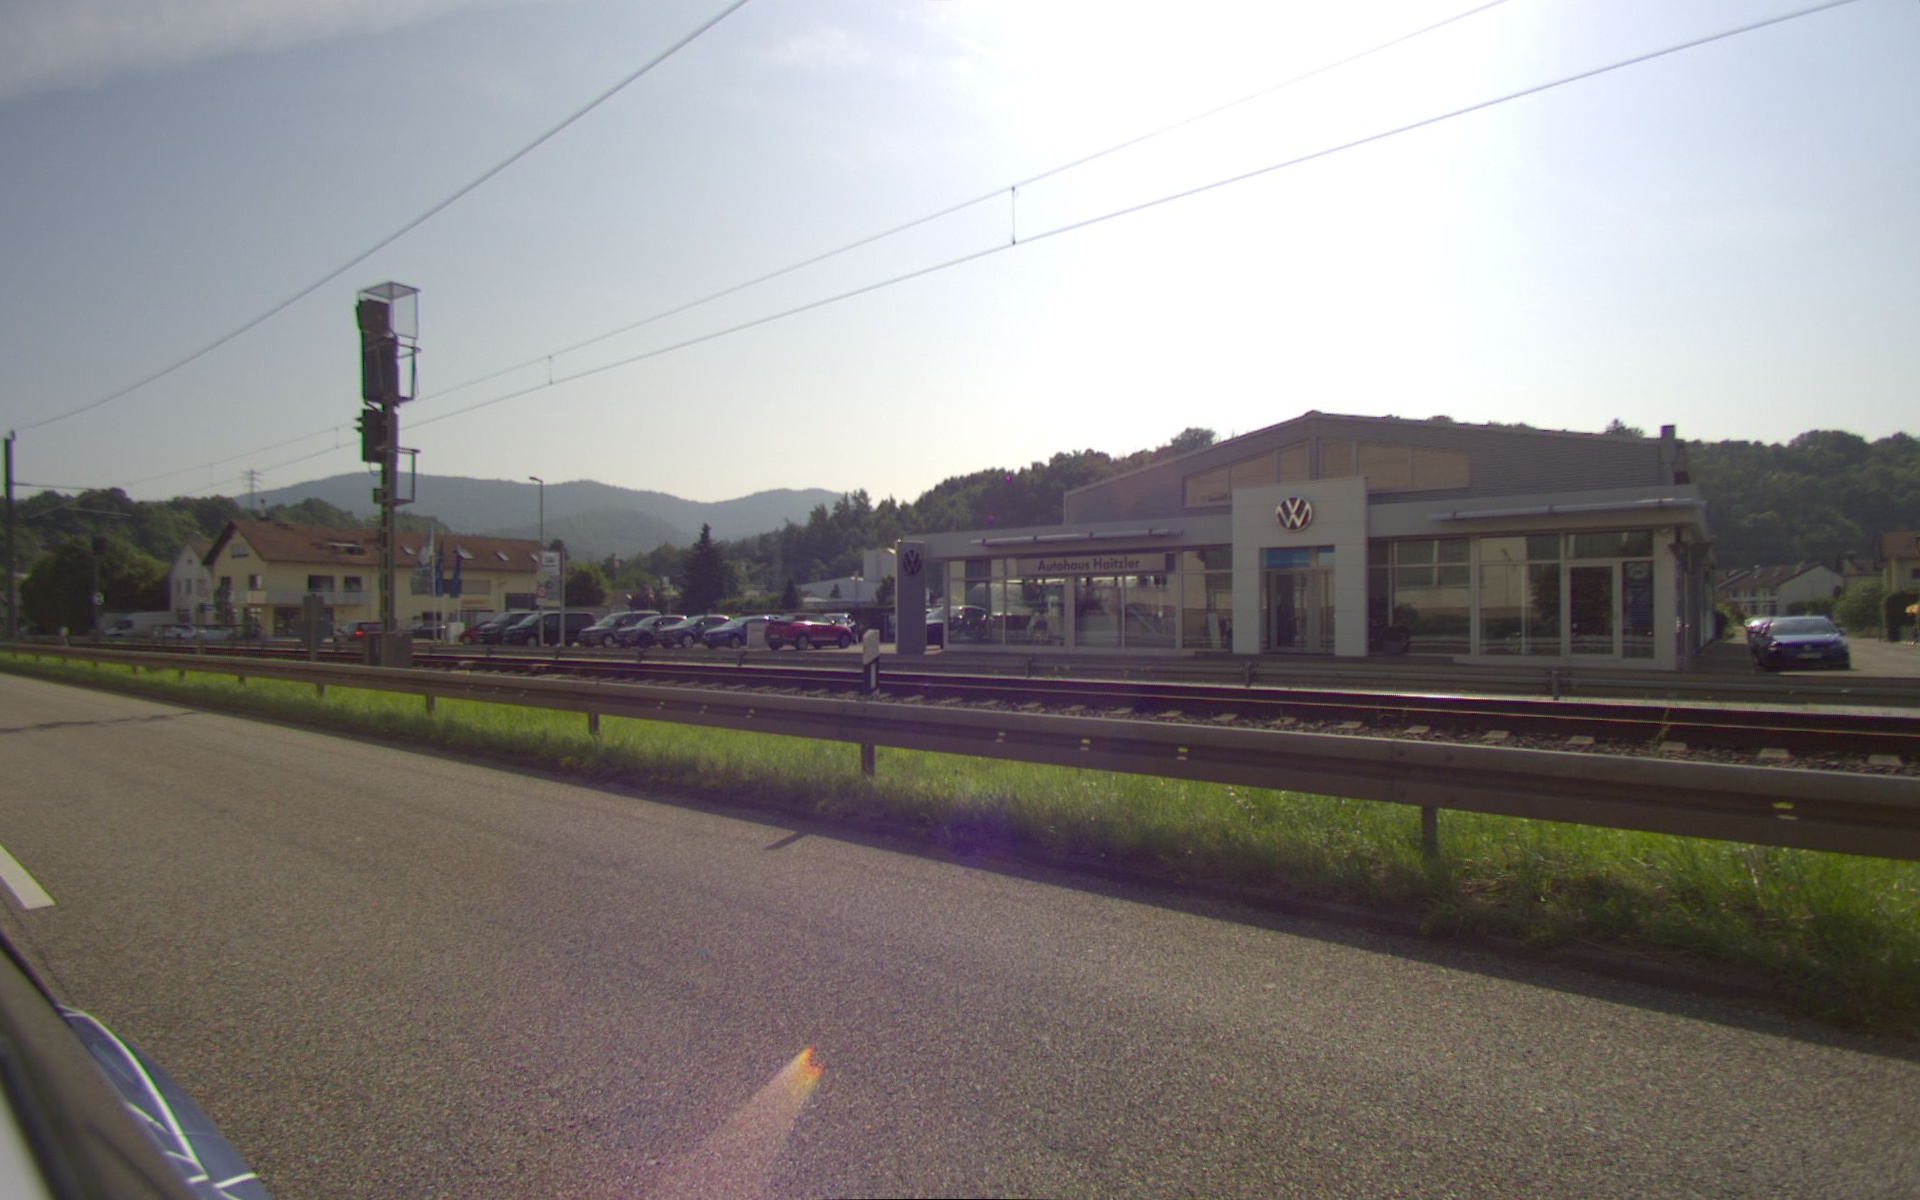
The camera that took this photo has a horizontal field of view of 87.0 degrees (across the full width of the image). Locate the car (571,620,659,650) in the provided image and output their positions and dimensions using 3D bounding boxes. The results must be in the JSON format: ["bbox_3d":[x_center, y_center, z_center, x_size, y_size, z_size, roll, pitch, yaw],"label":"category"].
[{"bbox_3d":[-17.602,1.784,51.692,1.759,1.471,3.947,-2,-2,39],"label":"car"}]

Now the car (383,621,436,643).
[{"bbox_3d":[-41.847,2.418,76.990,3.487,1.588,1.654,1,-2,-30],"label":"car"}]

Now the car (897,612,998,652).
[{"bbox_3d":[-0.430,1.220,39.443,1.859,1.471,3.947,-2,-2,39],"label":"car"}]

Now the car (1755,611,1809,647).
[{"bbox_3d":[34.693,1.192,42.791,1.617,1.431,3.949,-1,-1,38],"label":"car"}]

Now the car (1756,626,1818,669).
[{"bbox_3d":[30.073,1.688,36.880,1.617,1.431,3.949,-1,-1,38],"label":"car"}]

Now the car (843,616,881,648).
[{"bbox_3d":[-4.765,1.537,48.736,1.733,1.471,4.005,0,-2,-6],"label":"car"}]

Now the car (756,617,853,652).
[{"bbox_3d":[-6.463,1.444,42.433,1.856,1.385,3.953,-1,-2,34],"label":"car"}]

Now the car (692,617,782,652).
[{"bbox_3d":[-9.869,1.526,45.074,1.753,1.471,3.961,-1,-2,28],"label":"car"}]

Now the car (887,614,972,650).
[{"bbox_3d":[-1.369,1.460,46.974,1.995,1.593,3.954,-1,-1,34],"label":"car"}]

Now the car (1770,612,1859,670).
[{"bbox_3d":[23.021,1.060,27.375,1.617,1.431,3.949,-1,-1,38],"label":"car"}]

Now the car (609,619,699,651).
[{"bbox_3d":[-14.890,1.681,49.373,1.759,1.471,3.947,-2,-2,39],"label":"car"}]

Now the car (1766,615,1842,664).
[{"bbox_3d":[26.116,1.187,31.424,1.617,1.431,3.949,-1,-1,38],"label":"car"}]

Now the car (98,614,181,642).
[{"bbox_3d":[-75.221,2.566,92.846,2.232,2.435,5.521,-2,-1,36],"label":"car"}]

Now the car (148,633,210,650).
[{"bbox_3d":[-64.907,3.402,84.133,1.644,1.309,3.813,-1,-1,34],"label":"car"}]

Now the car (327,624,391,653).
[{"bbox_3d":[-31.194,1.976,52.502,4.000,1.471,1.835,-2,-2,43],"label":"car"}]

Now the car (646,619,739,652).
[{"bbox_3d":[-12.456,1.625,47.242,1.759,1.471,3.947,-2,-2,39],"label":"car"}]

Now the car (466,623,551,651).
[{"bbox_3d":[-25.119,2.045,56.421,1.759,1.471,3.947,-2,-2,39],"label":"car"}]

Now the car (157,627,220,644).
[{"bbox_3d":[-62.753,2.848,82.373,1.644,1.309,3.813,-1,-1,34],"label":"car"}]

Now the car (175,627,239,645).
[{"bbox_3d":[-60.285,2.883,81.029,1.644,1.309,3.813,-1,-1,34],"label":"car"}]
